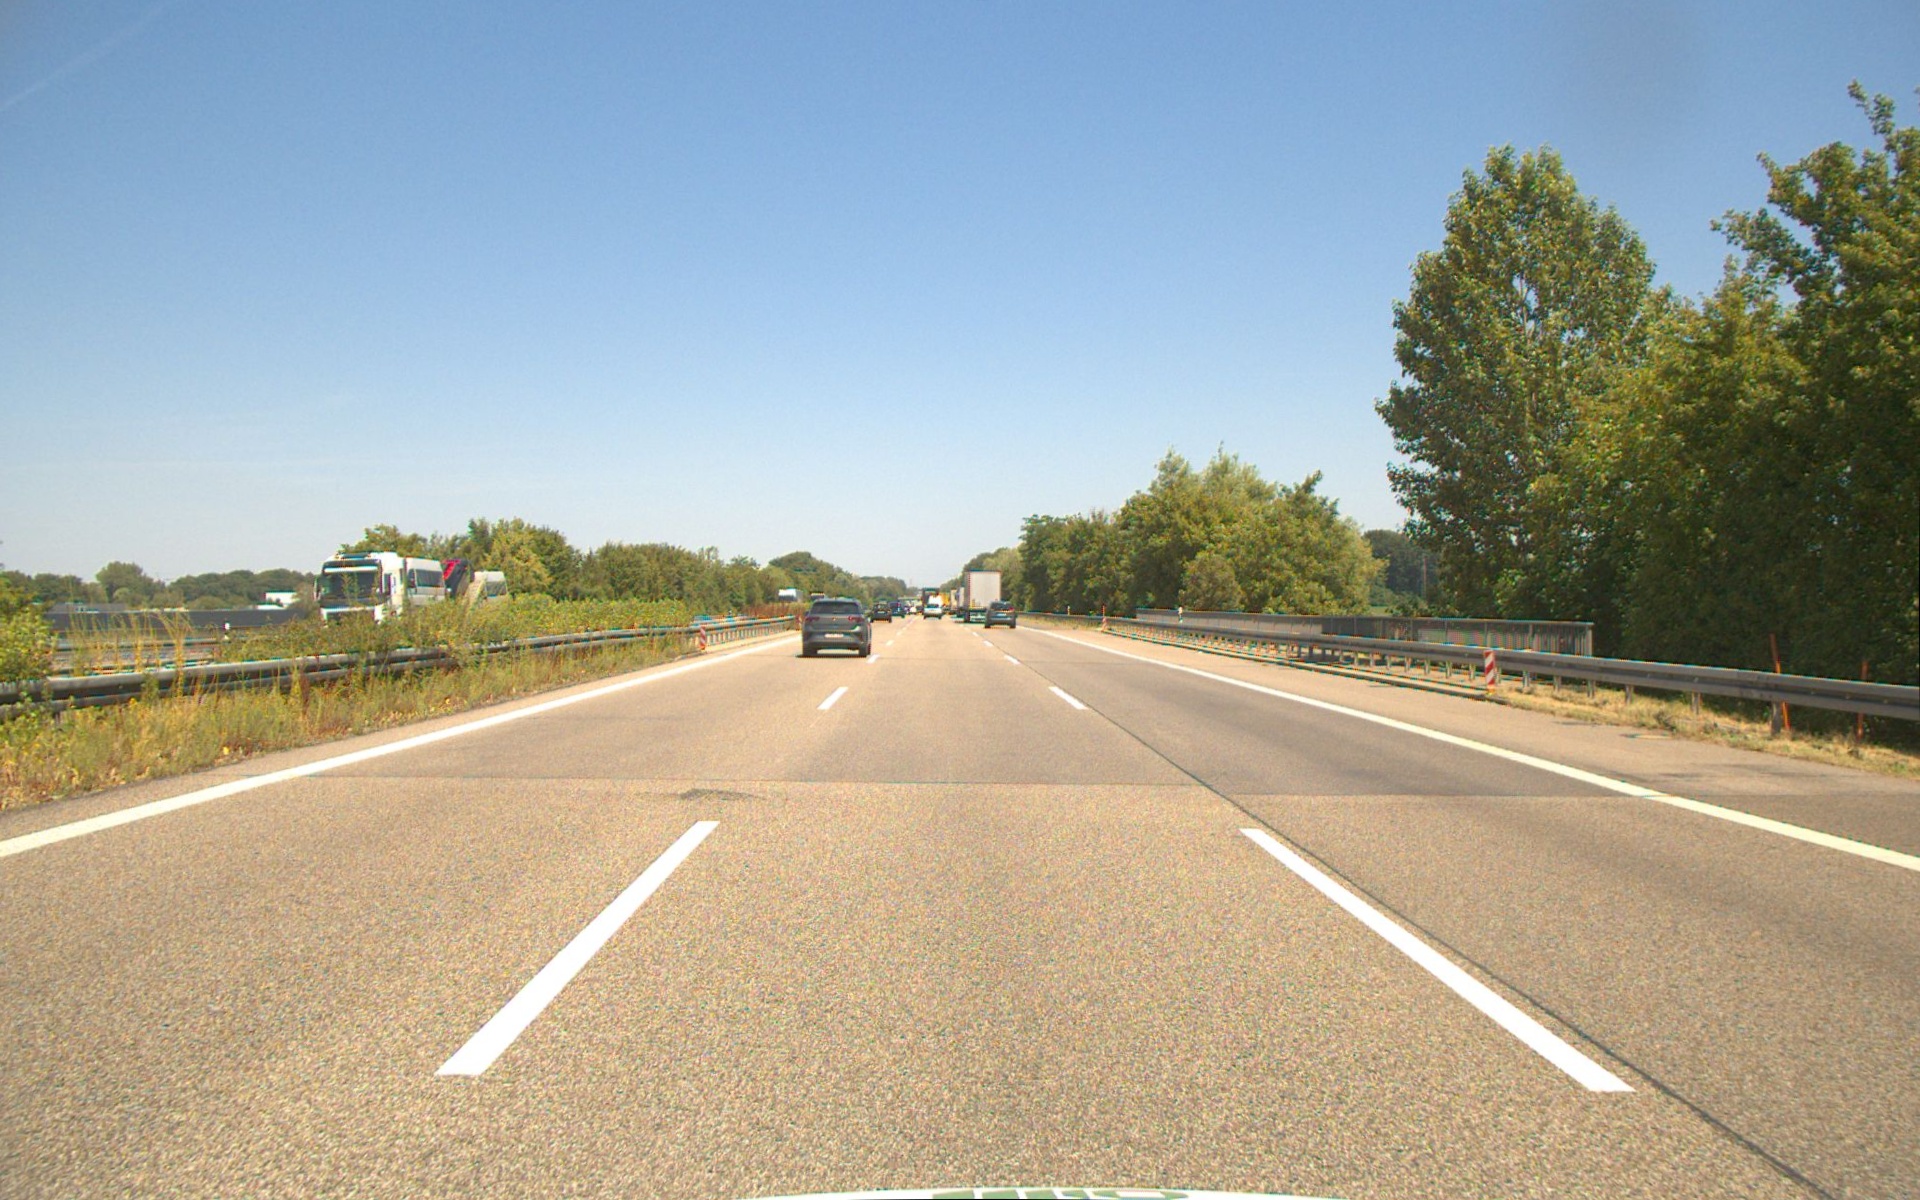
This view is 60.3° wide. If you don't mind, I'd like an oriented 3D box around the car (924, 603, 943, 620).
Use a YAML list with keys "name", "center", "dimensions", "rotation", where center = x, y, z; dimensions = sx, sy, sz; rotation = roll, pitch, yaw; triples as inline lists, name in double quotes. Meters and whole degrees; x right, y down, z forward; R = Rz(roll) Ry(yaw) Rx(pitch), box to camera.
- name: "car"
  center: [-2.659, 1.119, 164.187]
  dimensions: [1.862, 1.557, 4.083]
  rotation: [1, 0, -1]

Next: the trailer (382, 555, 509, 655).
- name: "trailer"
  center: [-22.384, 0.194, 72.625]
  dimensions: [2.867, 4.060, 9.655]
  rotation: [1, 0, -2]

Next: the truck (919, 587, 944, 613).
- name: "truck"
  center: [-4.187, -0.037, 247.512]
  dimensions: [3.592, 3.791, 7.108]
  rotation: [1, 0, 0]

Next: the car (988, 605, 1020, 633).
- name: "car"
  center: [2.681, 1.165, 101.014]
  dimensions: [1.808, 1.657, 4.134]
  rotation: [0, 0, -1]

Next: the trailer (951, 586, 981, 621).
- name: "trailer"
  center: [0.676, 0.418, 196.439]
  dimensions: [3.059, 3.995, 9.932]
  rotation: [1, 0, -2]

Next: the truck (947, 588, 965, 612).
- name: "truck"
  center: [-0.638, -0.041, 260.931]
  dimensions: [2.735, 3.791, 7.108]
  rotation: [1, 0, 0]

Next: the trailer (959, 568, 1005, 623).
- name: "trailer"
  center: [1.736, -0.295, 135.089]
  dimensions: [3.365, 4.254, 13.629]
  rotation: [1, -1, -1]

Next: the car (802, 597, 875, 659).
- name: "car"
  center: [-3.297, 0.730, 45.438]
  dimensions: [1.723, 1.557, 4.284]
  rotation: [1, 0, -1]

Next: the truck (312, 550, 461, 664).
- name: "truck"
  center: [-22.038, 0.234, 64.211]
  dimensions: [2.859, 4.060, 9.618]
  rotation: [1, 0, -3]

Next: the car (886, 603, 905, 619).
- name: "car"
  center: [-6.896, 1.174, 177.688]
  dimensions: [1.869, 1.557, 4.284]
  rotation: [1, 0, -1]

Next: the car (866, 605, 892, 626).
- name: "car"
  center: [-6.275, 1.209, 128.330]
  dimensions: [1.862, 1.557, 4.083]
  rotation: [1, 0, -1]

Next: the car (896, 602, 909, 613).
- name: "car"
  center: [-8.546, 1.077, 246.161]
  dimensions: [1.869, 1.557, 4.284]
  rotation: [1, 0, -1]
